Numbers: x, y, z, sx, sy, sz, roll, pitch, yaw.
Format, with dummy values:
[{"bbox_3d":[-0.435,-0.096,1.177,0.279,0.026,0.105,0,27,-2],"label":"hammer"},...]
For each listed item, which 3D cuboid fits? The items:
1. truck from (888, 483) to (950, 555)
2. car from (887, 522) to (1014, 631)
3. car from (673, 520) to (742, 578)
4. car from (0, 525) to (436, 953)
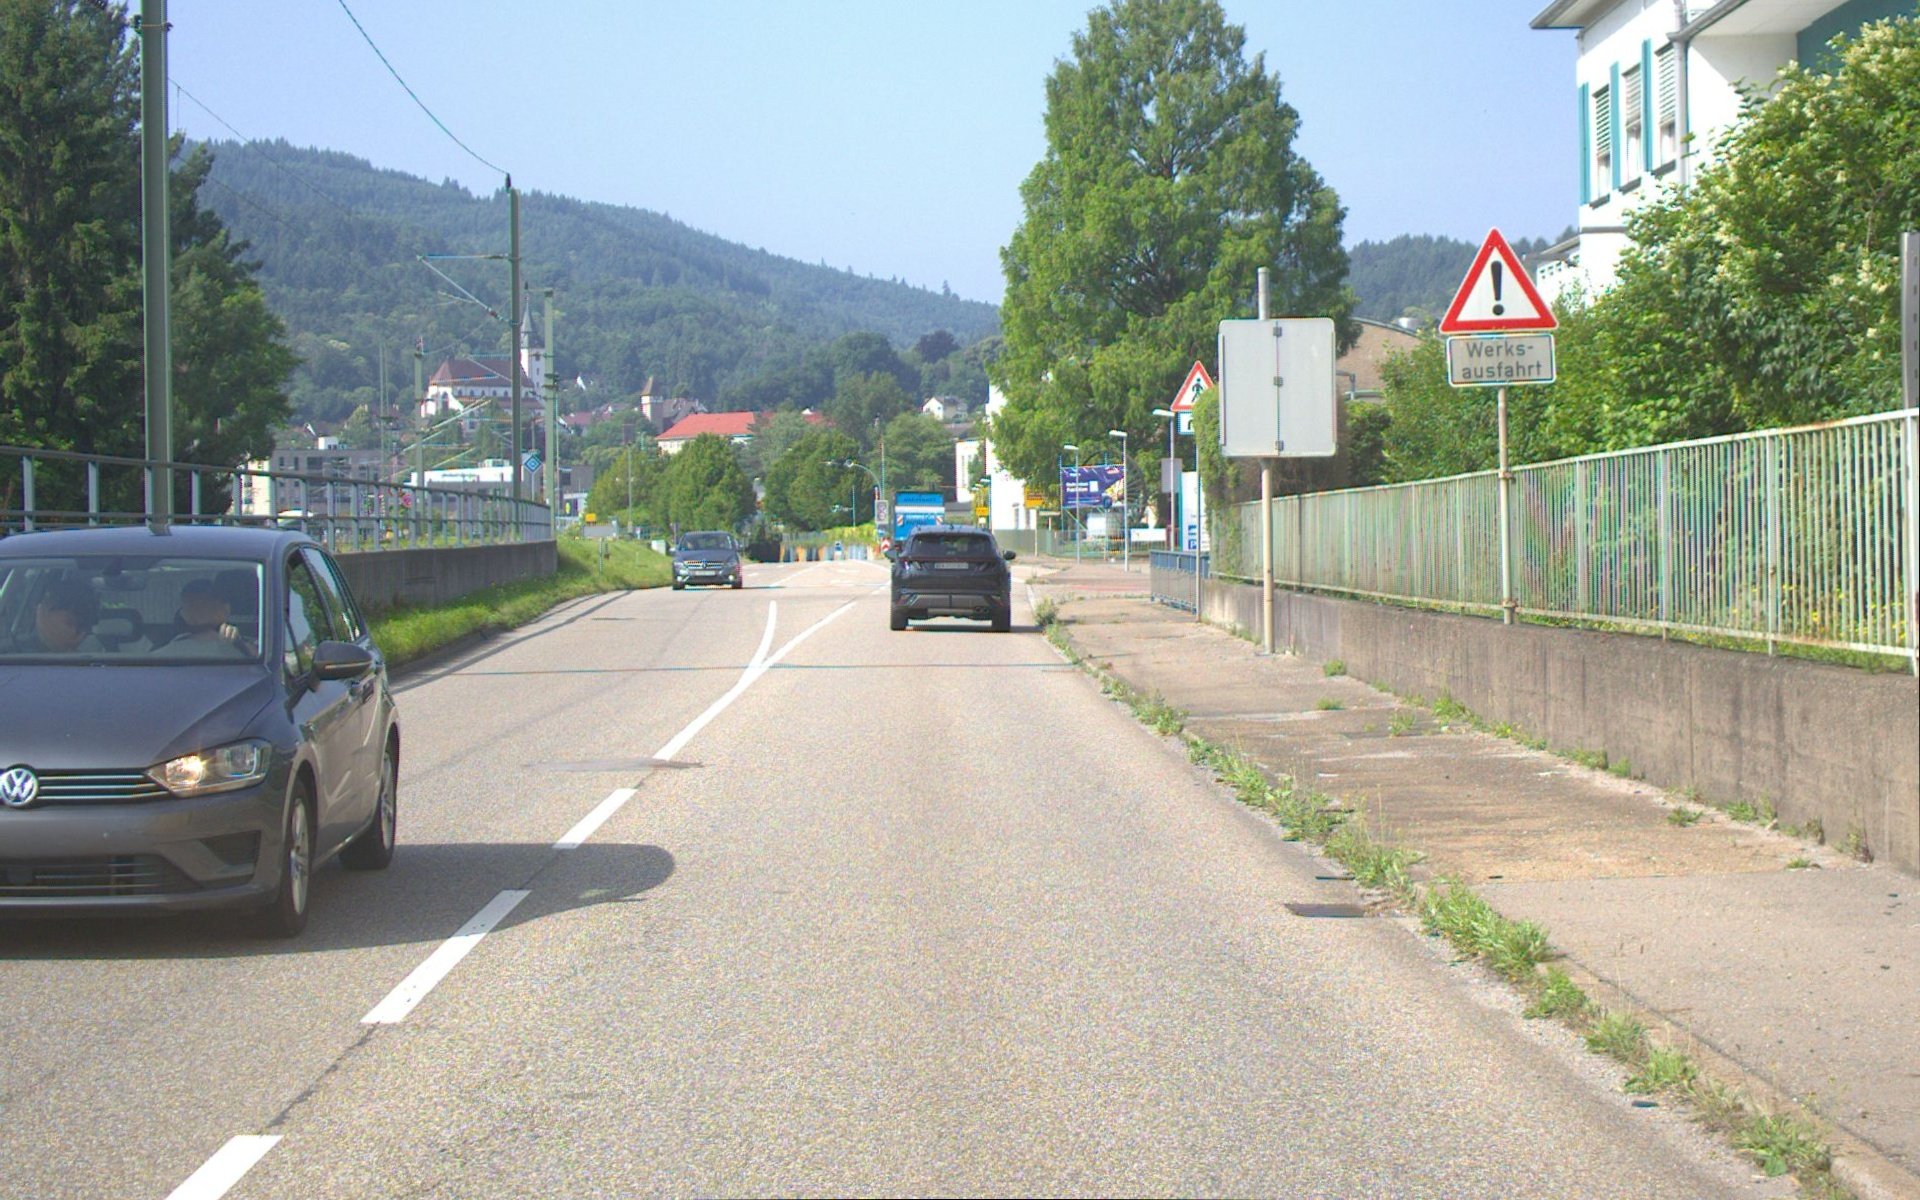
[{"bbox_3d":[-1.781,-3.465,146.729,2.312,2.960,5.967,-1,2,-3],"label":"truck"},{"bbox_3d":[-0.110,-0.400,54.324,1.919,1.634,4.000,-1,1,1],"label":"car"},{"bbox_3d":[-6.699,-1.368,91.495,1.741,1.502,4.200,0,1,-3],"label":"car"},{"bbox_3d":[-3.316,0.453,14.253,1.731,1.521,4.093,0,1,-1],"label":"car"}]
